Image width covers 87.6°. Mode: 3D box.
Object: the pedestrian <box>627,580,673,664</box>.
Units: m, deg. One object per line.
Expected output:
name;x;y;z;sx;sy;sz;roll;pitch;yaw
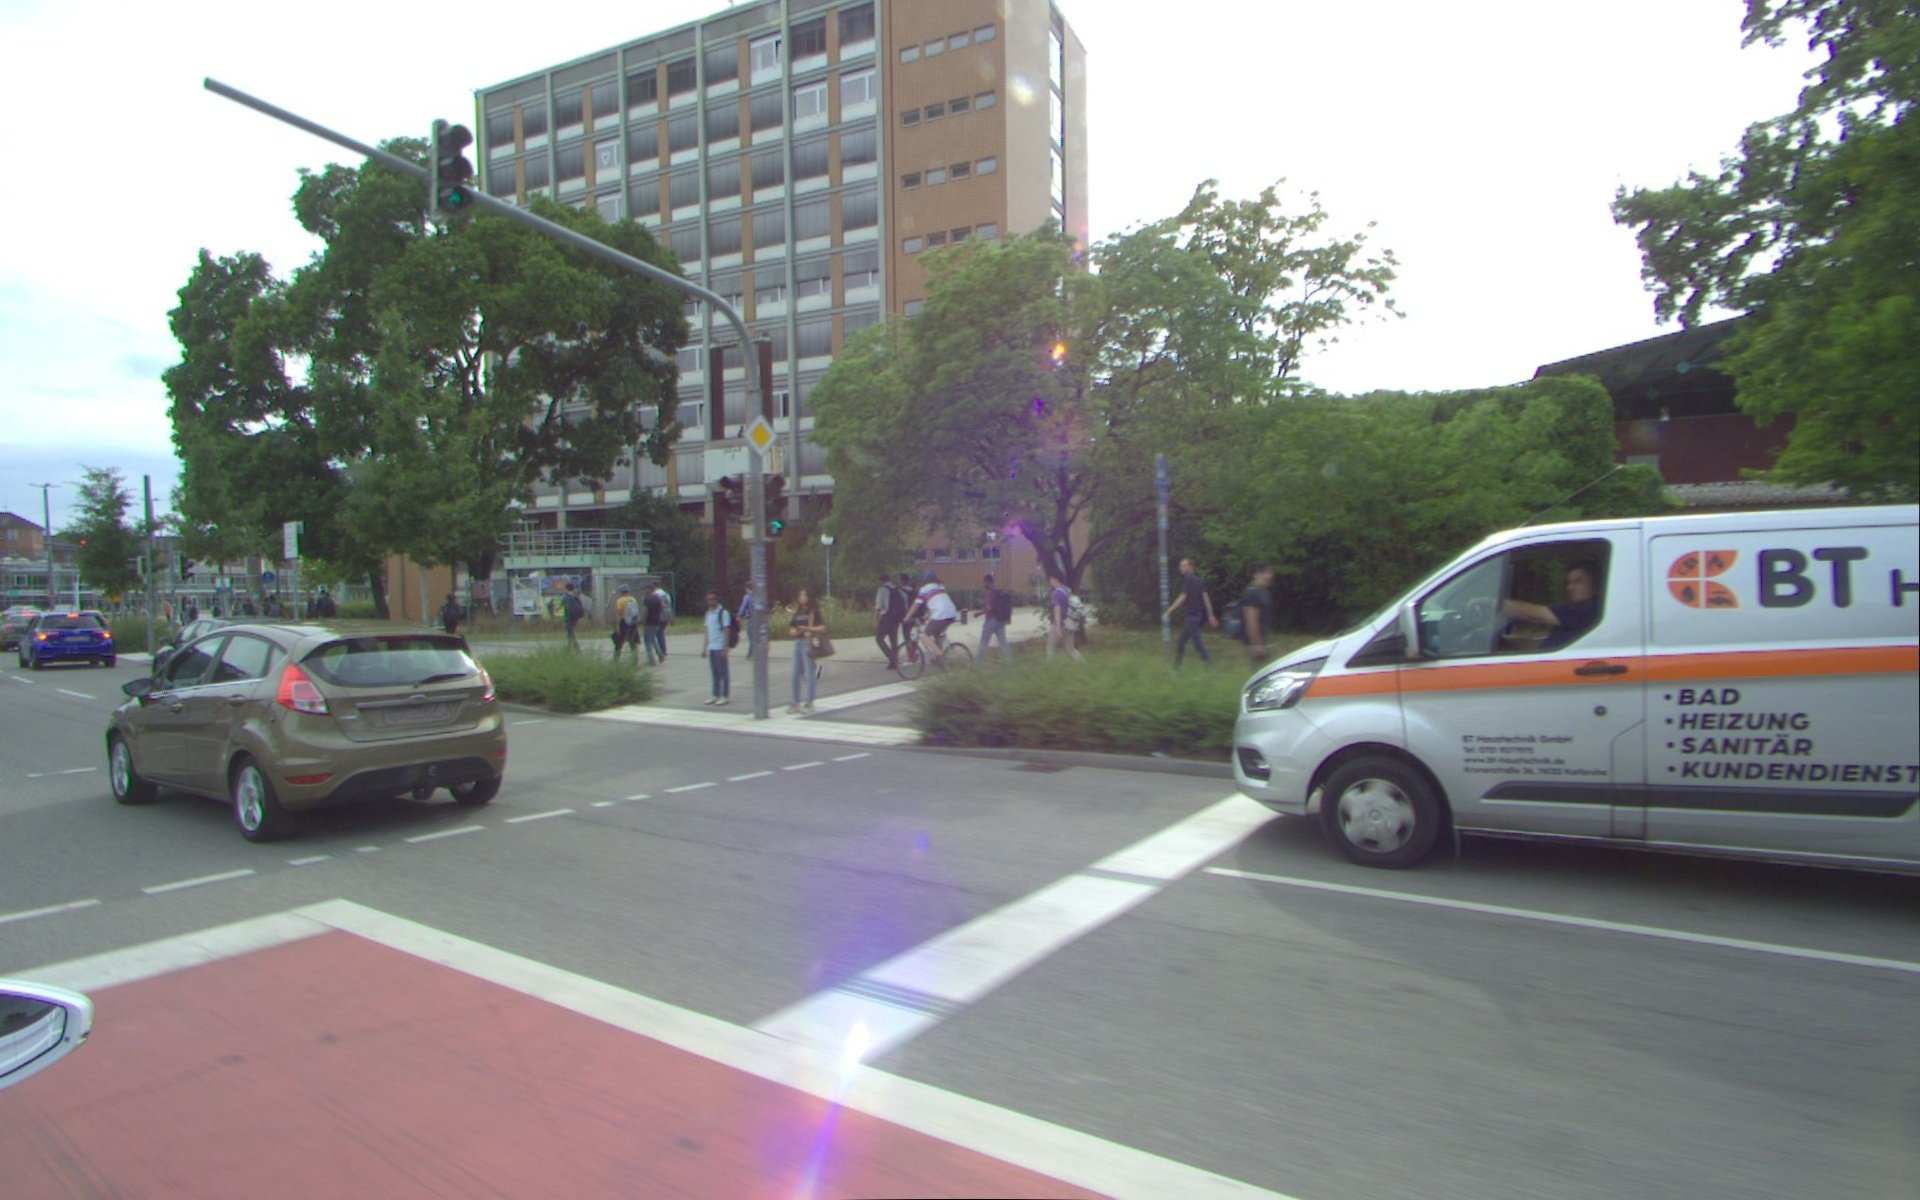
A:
pedestrian;-6.535;0.462;21.091;0.698;1.733;0.636;0;0;33

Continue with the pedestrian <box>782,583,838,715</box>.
pedestrian;-2.019;0.646;13.440;0.580;1.733;0.478;0;0;35

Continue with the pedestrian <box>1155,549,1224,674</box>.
pedestrian;3.486;0.181;15.183;0.788;1.832;0.835;0;0;33

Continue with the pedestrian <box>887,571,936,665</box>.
pedestrian;-0.927;0.344;19.028;0.698;1.733;0.636;0;0;33

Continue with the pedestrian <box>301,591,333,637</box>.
pedestrian;-24.595;0.525;38.295;0.801;1.733;0.776;0;0;33

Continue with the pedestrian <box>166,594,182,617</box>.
pedestrian;-56.978;0.405;72.556;0.770;1.595;0.807;-3;3;-34

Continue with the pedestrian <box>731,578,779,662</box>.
pedestrian;-4.371;0.418;21.371;0.698;1.735;0.636;0;3;33

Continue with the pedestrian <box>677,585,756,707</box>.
pedestrian;-3.585;0.659;14.759;0.828;1.733;0.795;0;0;35

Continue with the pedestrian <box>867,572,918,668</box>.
pedestrian;-1.239;0.368;18.408;0.698;1.733;0.636;0;0;33

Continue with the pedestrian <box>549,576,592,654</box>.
pedestrian;-9.469;0.360;24.371;0.698;1.877;0.636;0;2;33

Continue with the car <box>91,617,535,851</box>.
car;-5.148;0.849;7.845;3.650;1.423;1.691;-1;-1;35

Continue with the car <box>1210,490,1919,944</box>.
car;4.147;0.531;5.464;5.127;1.985;1.817;-1;-1;30

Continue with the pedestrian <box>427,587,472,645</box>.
pedestrian;-14.662;0.450;28.762;0.801;1.595;0.775;0;3;33

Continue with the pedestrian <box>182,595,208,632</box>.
pedestrian;-34.231;0.580;44.817;0.770;1.595;0.807;-3;3;-34

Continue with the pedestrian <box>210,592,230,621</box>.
pedestrian;-41.793;0.380;56.539;0.770;1.595;0.807;-3;3;-34

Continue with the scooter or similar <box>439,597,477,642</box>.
scooter or similar;-15.616;0.598;31.163;1.128;1.388;0.398;0;0;20

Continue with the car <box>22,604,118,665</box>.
car;-24.262;0.910;27.370;1.844;1.552;3.967;0;-1;-41

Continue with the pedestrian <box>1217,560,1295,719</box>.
pedestrian;3.371;0.436;11.393;0.683;1.733;0.730;0;0;33

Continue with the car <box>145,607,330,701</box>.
car;-12.989;0.906;17.945;3.586;1.527;1.661;-1;-1;36

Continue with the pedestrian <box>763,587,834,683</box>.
pedestrian;-2.778;0.584;17.273;0.788;1.564;0.834;0;4;33

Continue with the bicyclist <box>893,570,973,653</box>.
bicyclist;-0.434;0.186;16.172;0.999;1.294;0.835;0;0;33

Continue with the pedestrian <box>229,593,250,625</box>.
pedestrian;-37.042;0.441;51.521;0.770;1.595;0.807;-3;3;-34

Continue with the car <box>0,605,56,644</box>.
car;-36.712;0.941;38.958;3.662;1.438;2.120;-1;-1;45

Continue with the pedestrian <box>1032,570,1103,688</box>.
pedestrian;1.651;0.439;15.287;0.788;1.733;0.835;0;0;33

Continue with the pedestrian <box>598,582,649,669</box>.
pedestrian;-6.894;0.504;20.519;0.698;1.734;0.636;0;2;33

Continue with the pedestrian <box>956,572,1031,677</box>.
pedestrian;0.576;0.412;17.033;0.999;1.733;0.835;0;0;33

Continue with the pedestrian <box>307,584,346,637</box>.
pedestrian;-21.481;0.362;33.964;1.013;1.733;0.776;0;0;33

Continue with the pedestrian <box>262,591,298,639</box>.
pedestrian;-25.131;0.553;37.031;1.013;1.733;0.776;0;0;33

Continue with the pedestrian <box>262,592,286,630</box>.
pedestrian;-29.517;0.466;43.099;0.770;1.595;0.807;-3;3;-34

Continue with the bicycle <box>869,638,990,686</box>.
bicycle;-0.505;0.980;16.226;1.819;0.703;0.839;-1;-1;33

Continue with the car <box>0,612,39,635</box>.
car;-59.514;1.476;63.261;1.697;1.438;3.967;0;-1;-40

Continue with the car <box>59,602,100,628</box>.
car;-51.640;0.891;58.785;1.690;1.438;3.670;0;-1;-40

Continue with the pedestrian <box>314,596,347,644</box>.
pedestrian;-23.189;0.739;36.879;0.801;1.733;0.776;0;0;33

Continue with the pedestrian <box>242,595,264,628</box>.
pedestrian;-35.521;0.555;50.311;0.770;1.595;0.807;-3;3;-34

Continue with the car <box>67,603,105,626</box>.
car;-55.926;0.944;64.120;1.690;1.438;3.670;0;-1;-40

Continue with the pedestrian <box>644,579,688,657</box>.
pedestrian;-6.630;0.402;22.596;0.698;1.734;0.636;0;1;33
